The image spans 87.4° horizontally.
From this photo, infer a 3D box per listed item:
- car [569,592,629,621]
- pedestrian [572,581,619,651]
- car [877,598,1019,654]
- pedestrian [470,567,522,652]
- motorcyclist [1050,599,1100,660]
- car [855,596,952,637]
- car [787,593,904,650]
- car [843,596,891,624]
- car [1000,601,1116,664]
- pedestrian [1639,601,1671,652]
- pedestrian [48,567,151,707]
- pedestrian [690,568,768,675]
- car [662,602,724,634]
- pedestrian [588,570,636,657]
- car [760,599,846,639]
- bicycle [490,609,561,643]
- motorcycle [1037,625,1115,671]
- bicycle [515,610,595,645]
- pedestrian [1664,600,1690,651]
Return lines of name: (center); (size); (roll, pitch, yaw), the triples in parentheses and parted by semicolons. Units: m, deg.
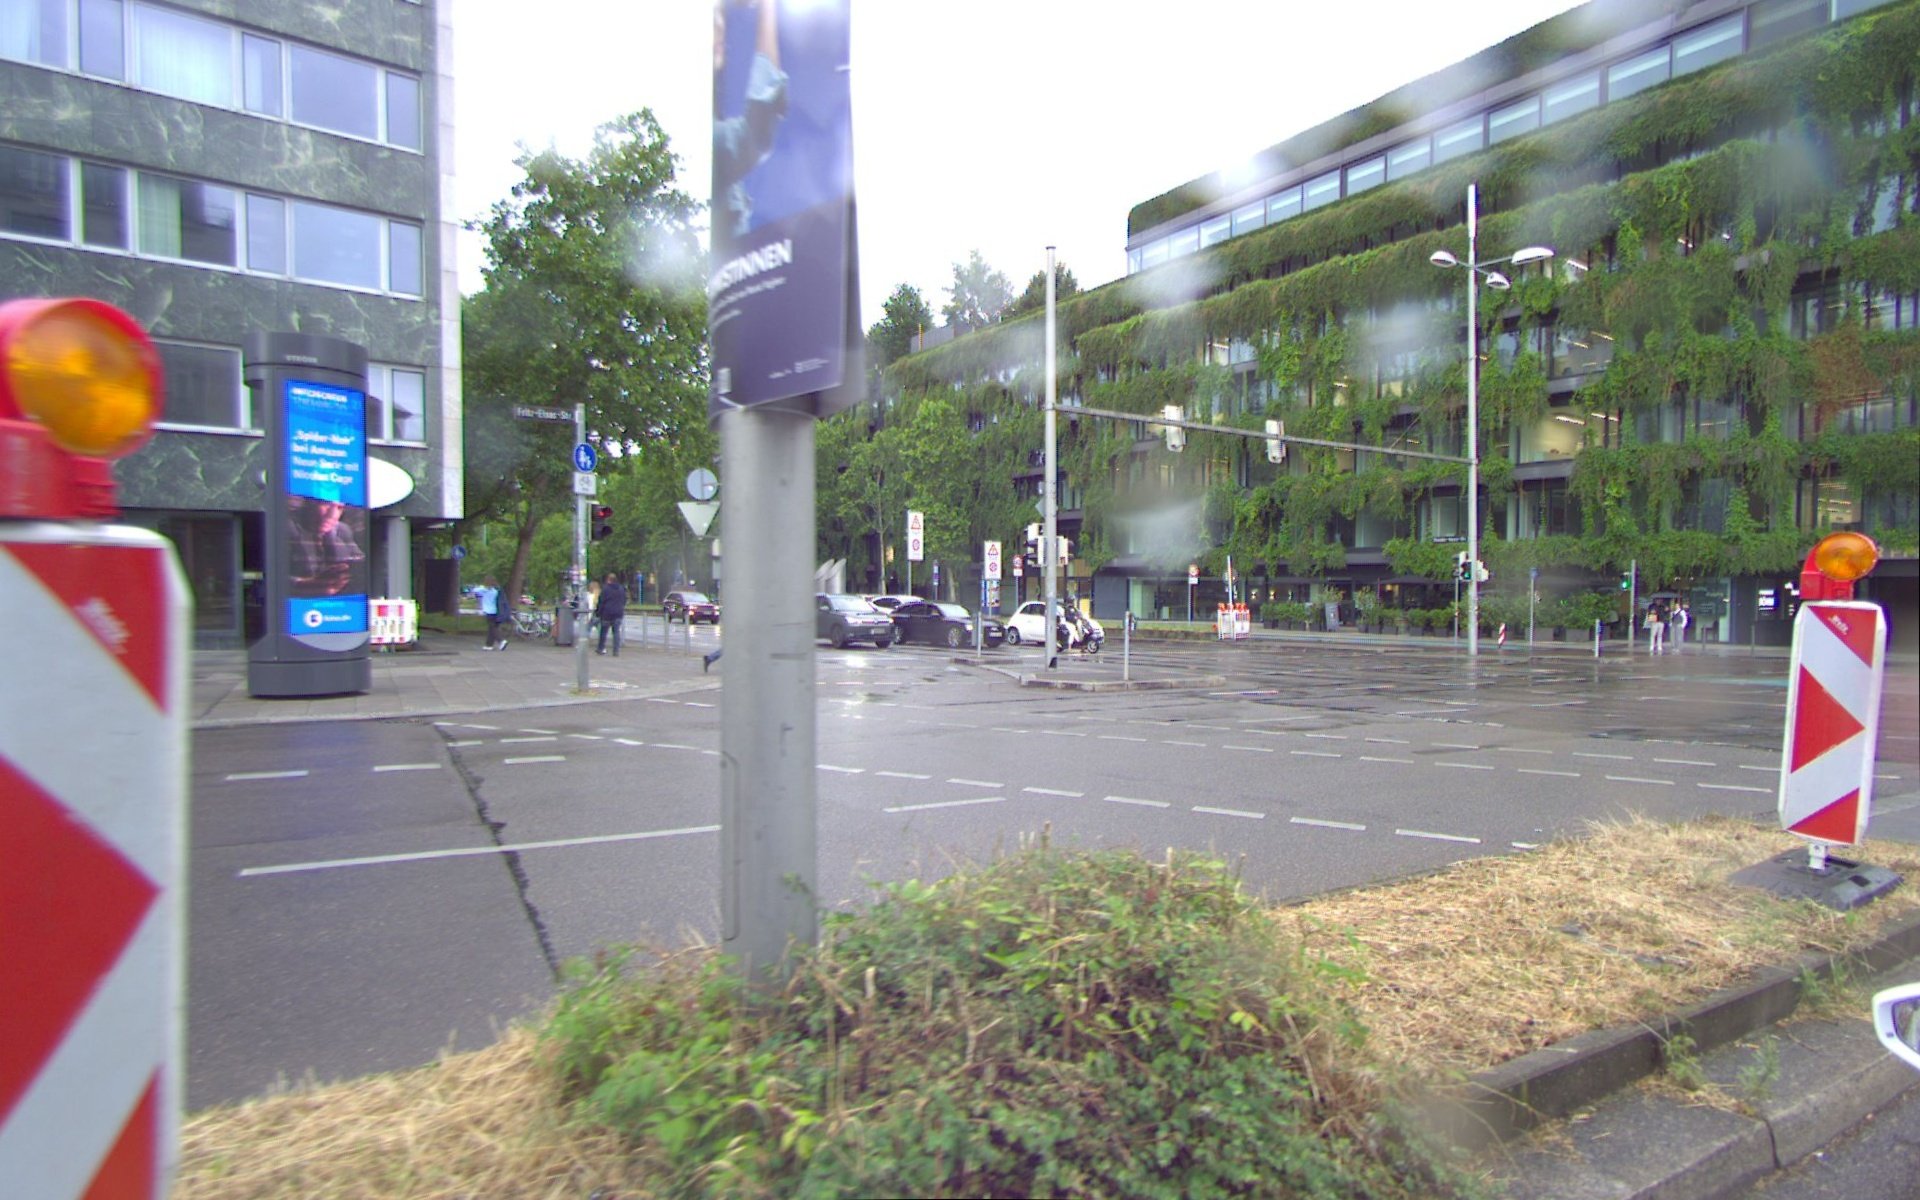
car: (-21.595, 0.374, 59.978); (1.986, 1.674, 4.050); (3, -1, -42)
pedestrian: (-8.669, 0.384, 23.868); (0.912, 1.606, 0.828); (0, -4, -30)
car: (-0.471, 0.802, 32.819); (1.957, 1.674, 4.755); (1, 0, -43)
pedestrian: (-10.683, 0.245, 23.100); (0.870, 1.878, 1.013); (1, -4, -39)
motorcyclist: (3.346, 0.844, 29.244); (1.173, 1.725, 0.843); (1, 0, 44)
car: (-2.274, 0.638, 39.868); (1.858, 1.543, 3.855); (1, 0, -42)
car: (-3.755, 0.641, 32.245); (1.980, 1.674, 4.197); (1, 0, -35)
car: (-7.188, 0.752, 77.487); (1.979, 2.040, 4.073); (1, -1, -34)
car: (3.223, 1.021, 33.438); (1.985, 1.948, 3.417); (1, 0, -42)
pedestrian: (25.178, 0.947, 36.390); (0.923, 1.781, 1.167); (1, 0, 37)
pedestrian: (-10.661, 0.446, 12.471); (0.679, 1.675, 0.756); (1, 0, -13)
pedestrian: (-4.297, 0.384, 18.691); (1.225, 1.911, 0.685); (1, 2, -34)
car: (-15.071, 0.981, 56.549); (1.805, 1.674, 4.053); (2, -1, -40)
pedestrian: (-7.845, 0.323, 22.649); (0.887, 1.909, 0.781); (0, -4, -30)
car: (-7.218, 0.861, 45.919); (1.986, 1.674, 4.050); (3, -1, -42)
bicycle: (-12.073, 0.722, 27.961); (1.773, 0.946, 0.473); (1, 0, -21)
motorcycle: (3.350, 1.375, 29.234); (2.204, 1.227, 0.843); (1, 0, 44)
bicycle: (-11.806, 0.804, 29.346); (2.170, 0.968, 0.423); (1, -1, -44)
pedestrian: (25.673, 0.911, 35.982); (0.731, 1.781, 0.972); (1, 0, 37)
